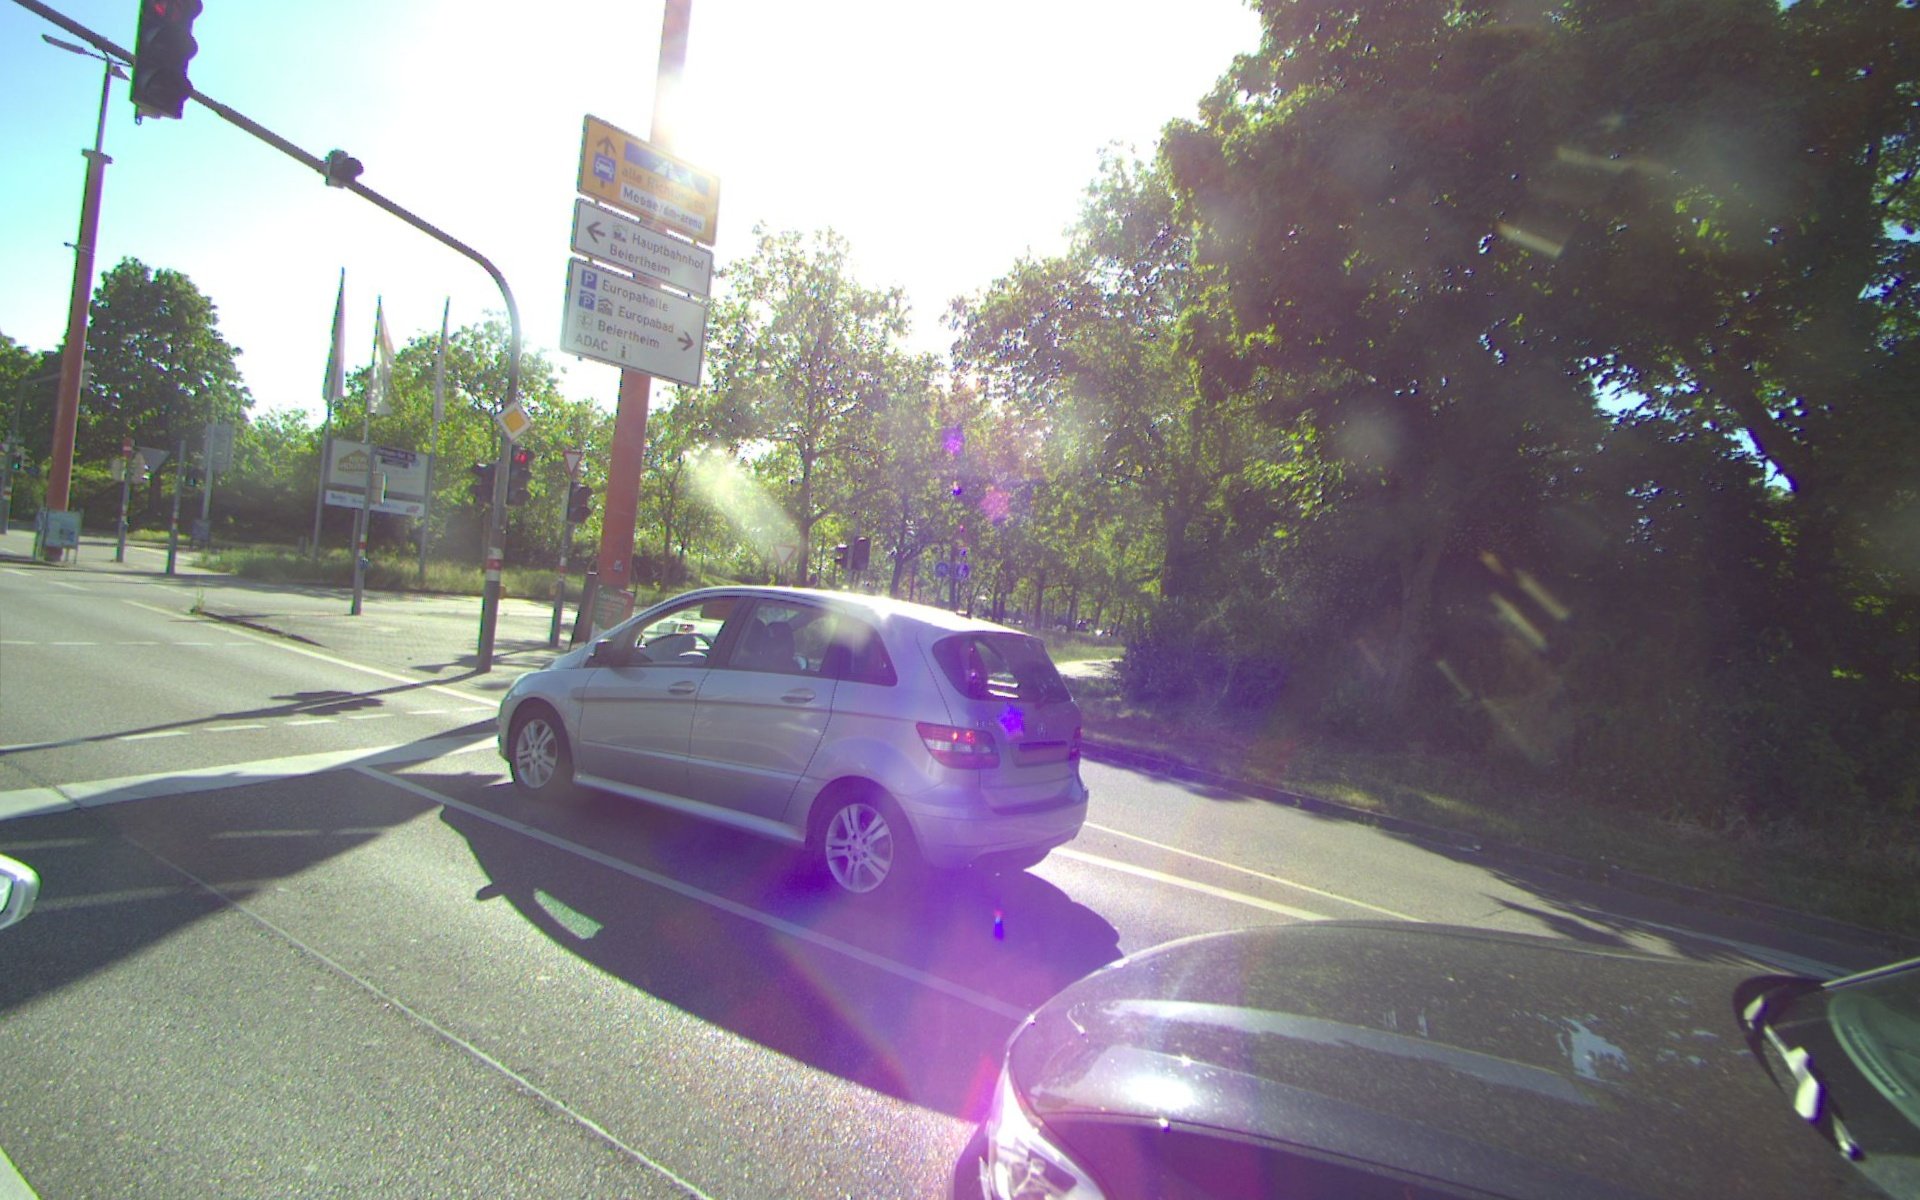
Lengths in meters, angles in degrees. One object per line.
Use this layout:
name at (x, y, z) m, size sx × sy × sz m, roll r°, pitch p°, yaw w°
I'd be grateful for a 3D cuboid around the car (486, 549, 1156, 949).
car at (-1.010, 0.707, 6.476) m, size 3.963 × 1.597 × 1.741 m, roll 7°, pitch 0°, yaw 33°

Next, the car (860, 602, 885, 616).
car at (-10.760, 1.129, 123.698) m, size 1.652 × 1.485 × 3.997 m, roll 7°, pitch -1°, yaw 14°

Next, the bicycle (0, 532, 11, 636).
bicycle at (-9.071, -0.065, 8.168) m, size 0.679 × 1.209 × 1.949 m, roll 7°, pitch 0°, yaw 4°

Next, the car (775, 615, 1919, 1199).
car at (2.049, 1.011, 1.179) m, size 4.371 × 1.415 × 1.871 m, roll 7°, pitch 0°, yaw 33°
